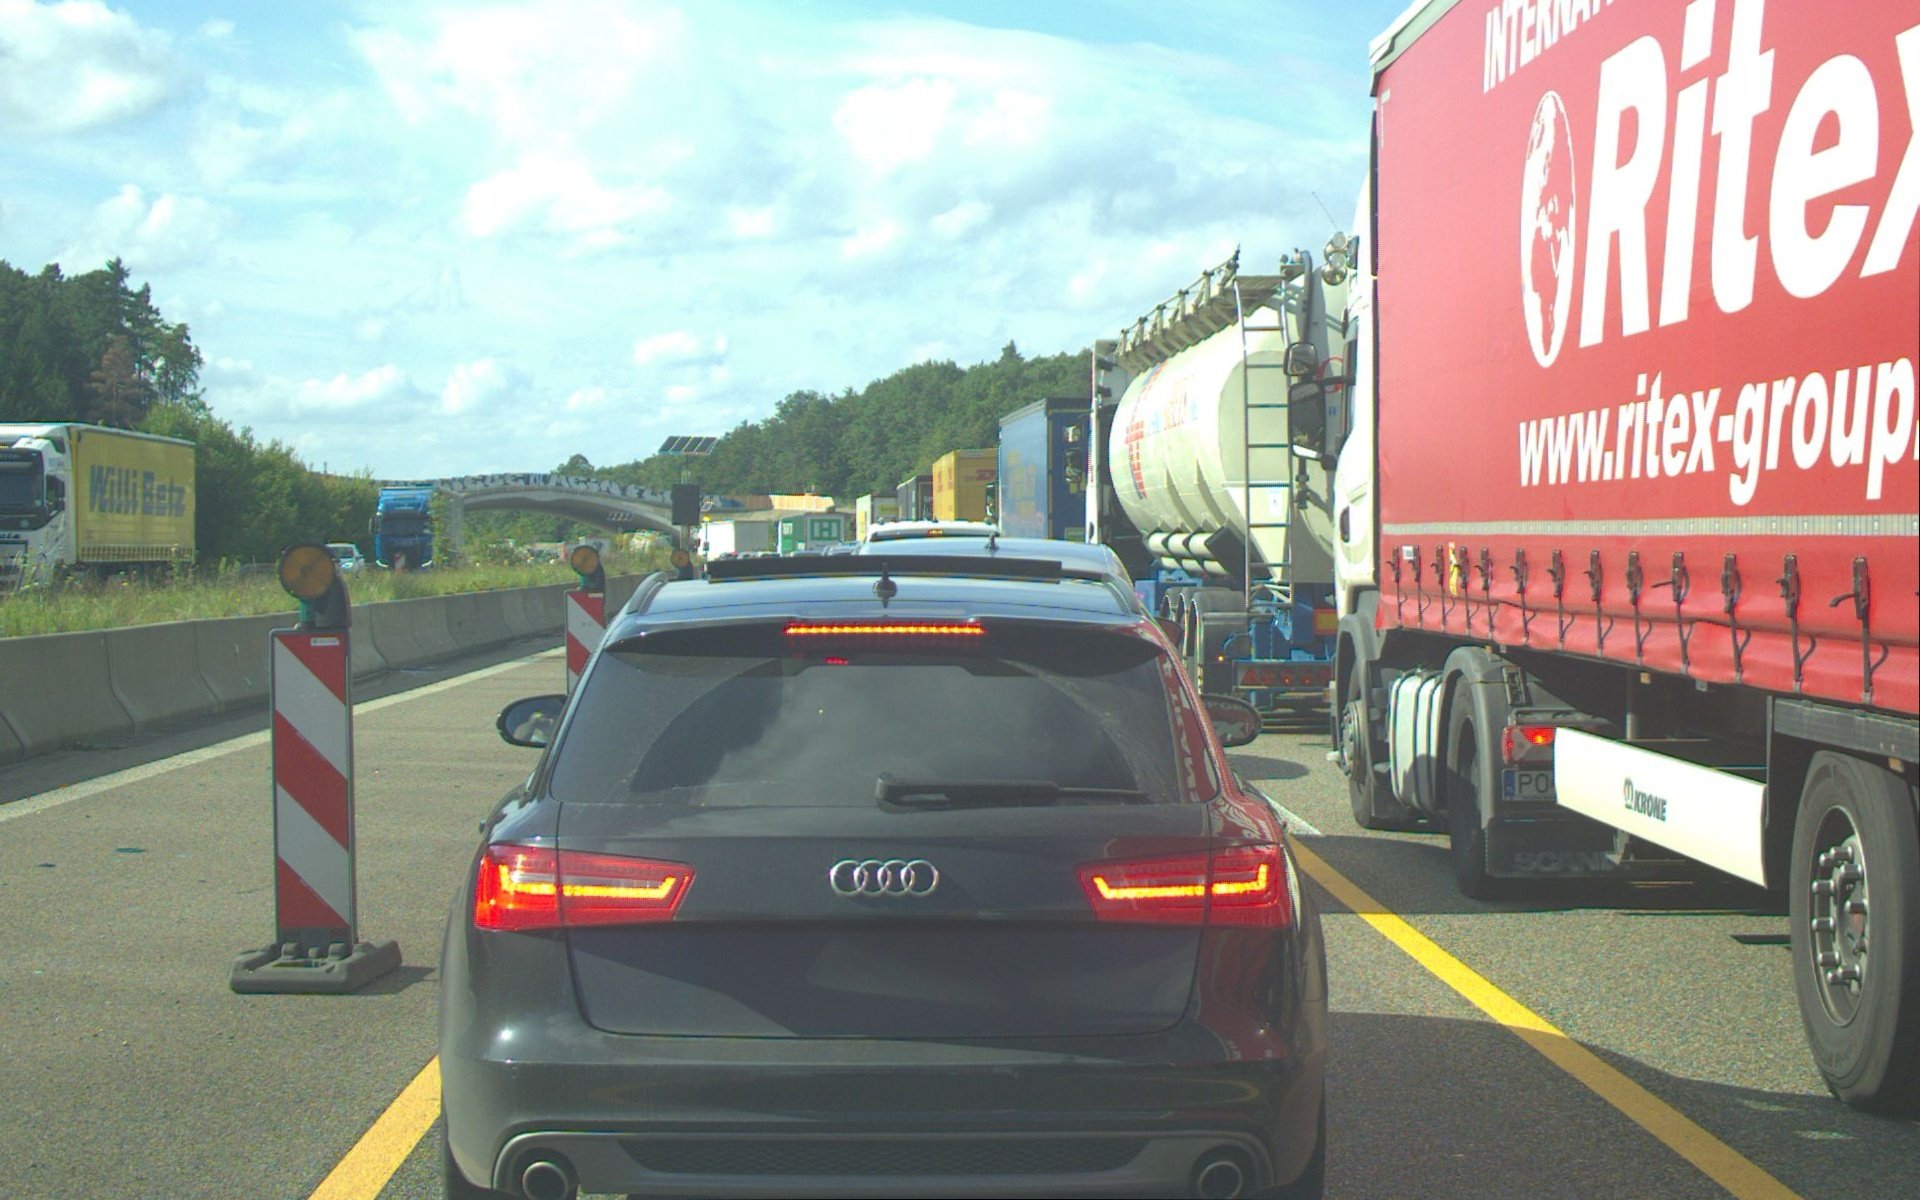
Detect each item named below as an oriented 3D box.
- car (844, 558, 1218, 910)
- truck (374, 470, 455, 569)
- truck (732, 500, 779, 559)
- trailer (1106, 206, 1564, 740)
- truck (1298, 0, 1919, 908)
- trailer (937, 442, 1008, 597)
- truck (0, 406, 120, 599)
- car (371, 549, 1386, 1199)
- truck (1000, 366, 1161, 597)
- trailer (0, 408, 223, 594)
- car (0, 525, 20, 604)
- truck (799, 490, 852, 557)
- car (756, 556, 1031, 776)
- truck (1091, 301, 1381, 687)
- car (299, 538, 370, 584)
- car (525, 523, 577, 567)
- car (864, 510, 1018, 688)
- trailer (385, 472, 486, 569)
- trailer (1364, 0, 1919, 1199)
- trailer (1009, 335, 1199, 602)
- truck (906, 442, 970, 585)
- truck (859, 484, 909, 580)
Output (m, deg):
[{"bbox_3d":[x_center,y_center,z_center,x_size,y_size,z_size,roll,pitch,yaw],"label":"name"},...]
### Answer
[{"bbox_3d":[0.275,0.541,15.867,1.524,1.434,3.285,1,0,-1],"label":"car"},{"bbox_3d":[-23.435,-3.439,147.916,2.637,4.175,5.468,1,1,-1],"label":"truck"},{"bbox_3d":[-14.966,-5.148,251.374,3.303,4.160,9.704,1,1,-4],"label":"truck"},{"bbox_3d":[3.062,-1.036,31.900,2.644,3.929,12.598,1,1,-1],"label":"trailer"},{"bbox_3d":[3.330,-0.791,16.741,2.667,3.946,5.711,0,1,-1],"label":"truck"},{"bbox_3d":[0.282,-2.066,90.184,1.616,3.905,6.490,1,0,-1],"label":"trailer"},{"bbox_3d":[-19.901,-2.015,72.690,2.826,3.895,5.949,1,0,-1],"label":"truck"},{"bbox_3d":[-0.171,0.625,8.286,1.848,1.458,4.000,0,0,-1],"label":"car"},{"bbox_3d":[2.344,-2.285,69.409,2.806,4.354,7.792,1,0,-1],"label":"truck"},{"bbox_3d":[-19.978,-2.162,79.860,2.827,3.909,13.941,1,0,-1],"label":"trailer"},{"bbox_3d":[-25.481,-0.913,87.578,1.993,2.007,4.000,1,0,-1],"label":"car"},{"bbox_3d":[-8.600,-4.852,219.046,3.304,4.160,9.703,0,1,-2],"label":"truck"},{"bbox_3d":[-0.450,0.409,23.983,1.751,1.392,3.608,1,0,-1],"label":"car"},{"bbox_3d":[2.973,-1.121,38.564,2.659,3.958,5.779,1,0,-1],"label":"truck"},{"bbox_3d":[-22.219,-1.380,122.223,1.787,1.555,4.000,1,0,-1],"label":"car"},{"bbox_3d":[-18.761,-2.508,157.893,1.993,1.941,4.000,1,0,-2],"label":"car"},{"bbox_3d":[-0.213,-0.024,37.411,1.581,1.830,3.112,1,0,-1],"label":"car"},{"bbox_3d":[-23.503,-3.533,154.748,2.619,4.127,13.373,1,1,-1],"label":"trailer"},{"bbox_3d":[3.479,-0.647,10.140,2.699,3.955,13.419,0,1,-1],"label":"trailer"},{"bbox_3d":[2.469,-2.232,62.325,2.805,4.398,10.433,1,0,-1],"label":"trailer"},{"bbox_3d":[-0.836,-3.068,123.369,1.993,4.897,9.563,1,1,-2],"label":"truck"},{"bbox_3d":[-3.435,-3.059,156.369,2.137,4.243,7.072,1,0,-1],"label":"truck"}]
